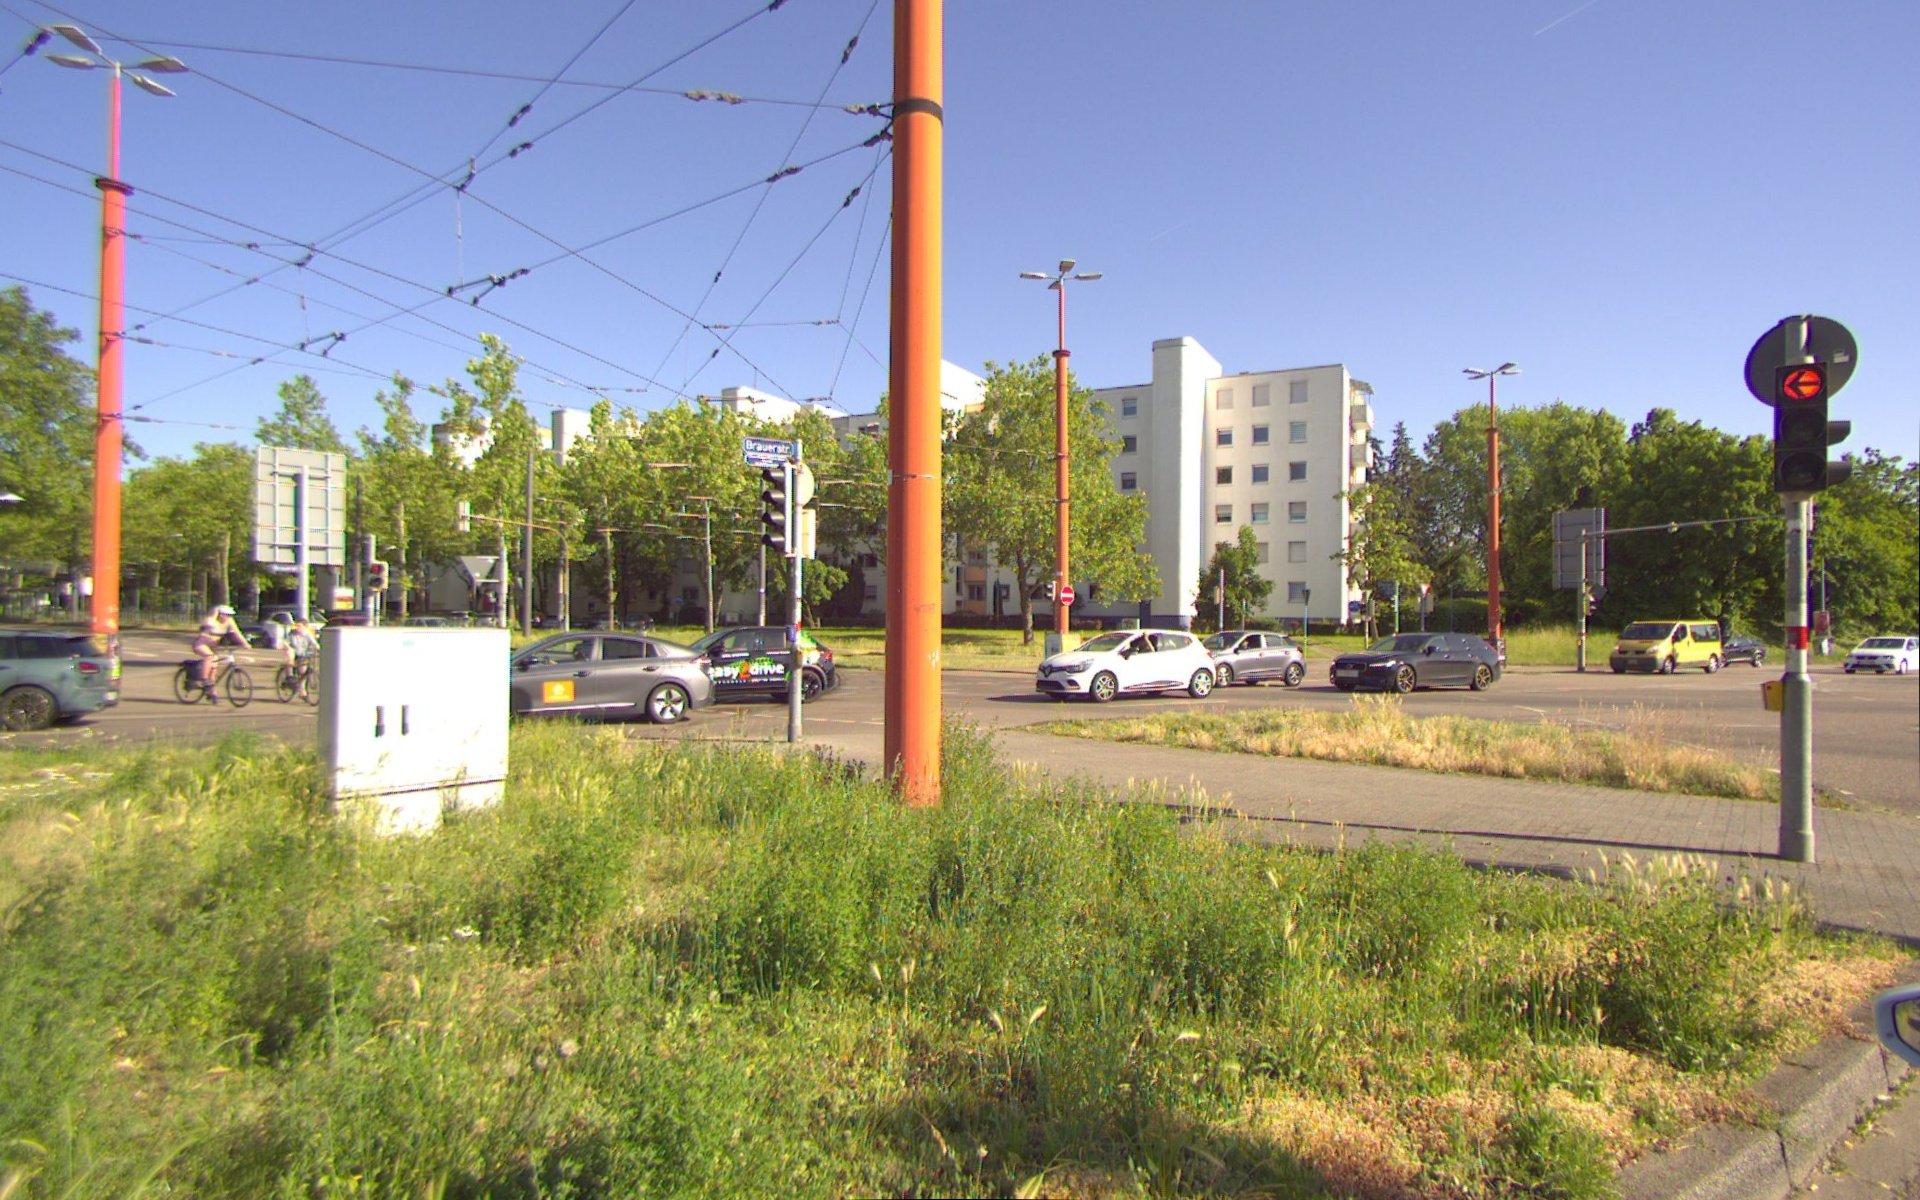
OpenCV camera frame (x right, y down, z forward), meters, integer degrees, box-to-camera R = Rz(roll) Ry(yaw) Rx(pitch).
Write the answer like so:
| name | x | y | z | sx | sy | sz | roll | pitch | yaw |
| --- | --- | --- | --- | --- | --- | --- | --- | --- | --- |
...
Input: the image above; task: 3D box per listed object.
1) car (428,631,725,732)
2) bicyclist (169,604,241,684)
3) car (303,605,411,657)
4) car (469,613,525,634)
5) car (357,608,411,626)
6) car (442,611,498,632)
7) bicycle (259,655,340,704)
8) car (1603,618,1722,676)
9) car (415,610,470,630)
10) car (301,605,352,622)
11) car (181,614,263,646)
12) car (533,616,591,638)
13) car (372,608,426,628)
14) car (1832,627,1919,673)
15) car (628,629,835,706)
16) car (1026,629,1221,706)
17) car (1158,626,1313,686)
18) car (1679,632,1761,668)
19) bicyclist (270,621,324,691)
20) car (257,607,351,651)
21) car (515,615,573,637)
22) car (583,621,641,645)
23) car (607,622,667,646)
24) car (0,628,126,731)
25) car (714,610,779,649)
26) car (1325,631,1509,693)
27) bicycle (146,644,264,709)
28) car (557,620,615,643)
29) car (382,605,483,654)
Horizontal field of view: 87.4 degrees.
| name | x | y | z | sx | sy | sz | roll | pitch | yaw |
| --- | --- | --- | --- | --- | --- | --- | --- | --- | --- |
| car | -6.019 | 1.214 | 15.901 | 4.211 | 1.395 | 1.541 | 1 | -1 | -30 |
| bicyclist | -14.197 | 0.811 | 18.895 | 0.742 | 1.449 | 0.752 | 1 | 0 | 15 |
| car | -24.287 | 1.219 | 40.445 | 4.200 | 1.926 | 1.996 | 1 | 0 | 31 |
| car | -38.560 | 1.919 | 83.771 | 3.934 | 1.617 | 1.890 | 2 | 0 | -15 |
| car | -53.668 | 1.586 | 93.672 | 3.934 | 1.617 | 1.890 | 2 | 0 | -15 |
| car | -41.760 | 1.846 | 85.653 | 3.934 | 1.617 | 1.890 | 2 | 0 | -15 |
| bicycle | -13.106 | 1.567 | 19.919 | 1.593 | 0.894 | 0.368 | 1 | 0 | 16 |
| car | 26.457 | 1.753 | 37.771 | 4.730 | 2.013 | 1.750 | 2 | 0 | -29 |
| car | -45.130 | 1.770 | 87.629 | 3.934 | 1.617 | 1.890 | 2 | 0 | -15 |
| car | -63.538 | 1.375 | 100.834 | 3.934 | 1.617 | 1.890 | 2 | 0 | -15 |
| car | -34.769 | 1.393 | 47.288 | 3.930 | 1.339 | 1.732 | 1 | 0 | 31 |
| car | -30.777 | 2.082 | 77.766 | 3.934 | 1.617 | 1.890 | 2 | 0 | -15 |
| car | -50.995 | 1.640 | 91.391 | 3.934 | 1.617 | 1.890 | 2 | 0 | -15 |
| car | 35.538 | 1.918 | 38.617 | 3.950 | 1.617 | 1.697 | 2 | 0 | -28 |
| car | -4.607 | 1.341 | 20.404 | 3.838 | 1.452 | 1.538 | 2 | -3 | -29 |
| car | 3.438 | 1.363 | 21.001 | 3.903 | 1.478 | 1.598 | 1 | -1 | -30 |
| car | 7.321 | 1.456 | 26.618 | 3.952 | 1.484 | 1.688 | 1 | -1 | -30 |
| car | 37.851 | 2.492 | 49.984 | 3.956 | 1.660 | 1.982 | 2 | 0 | -32 |
| bicyclist | -13.139 | 1.096 | 19.925 | 0.686 | 1.340 | 0.549 | 1 | 0 | 16 |
| car | -28.860 | 1.261 | 44.170 | 3.929 | 1.773 | 1.909 | 1 | 0 | 31 |
| car | -32.857 | 2.039 | 79.410 | 3.934 | 1.617 | 1.890 | 2 | 0 | -15 |
| car | -25.671 | 2.407 | 74.218 | 3.934 | 1.617 | 1.890 | 2 | 0 | -15 |
| car | -23.182 | 2.459 | 72.240 | 3.934 | 1.617 | 1.890 | 2 | 0 | -15 |
| car | -14.738 | 1.114 | 14.354 | 4.088 | 1.406 | 1.424 | 2 | 0 | -28 |
| car | -13.842 | 1.901 | 65.039 | 3.934 | 2.341 | 1.889 | 2 | 0 | -15 |
| car | 11.252 | 1.489 | 24.652 | 4.737 | 1.386 | 1.622 | 1 | -1 | -29 |
| bicycle | -14.205 | 1.426 | 18.885 | 2.313 | 1.095 | 0.474 | 1 | 0 | 17 |
| car | -28.135 | 2.352 | 75.680 | 3.934 | 1.617 | 1.890 | 2 | 0 | -15 |
| car | -22.943 | 1.254 | 43.665 | 4.200 | 1.926 | 1.996 | 1 | 0 | 31 |
